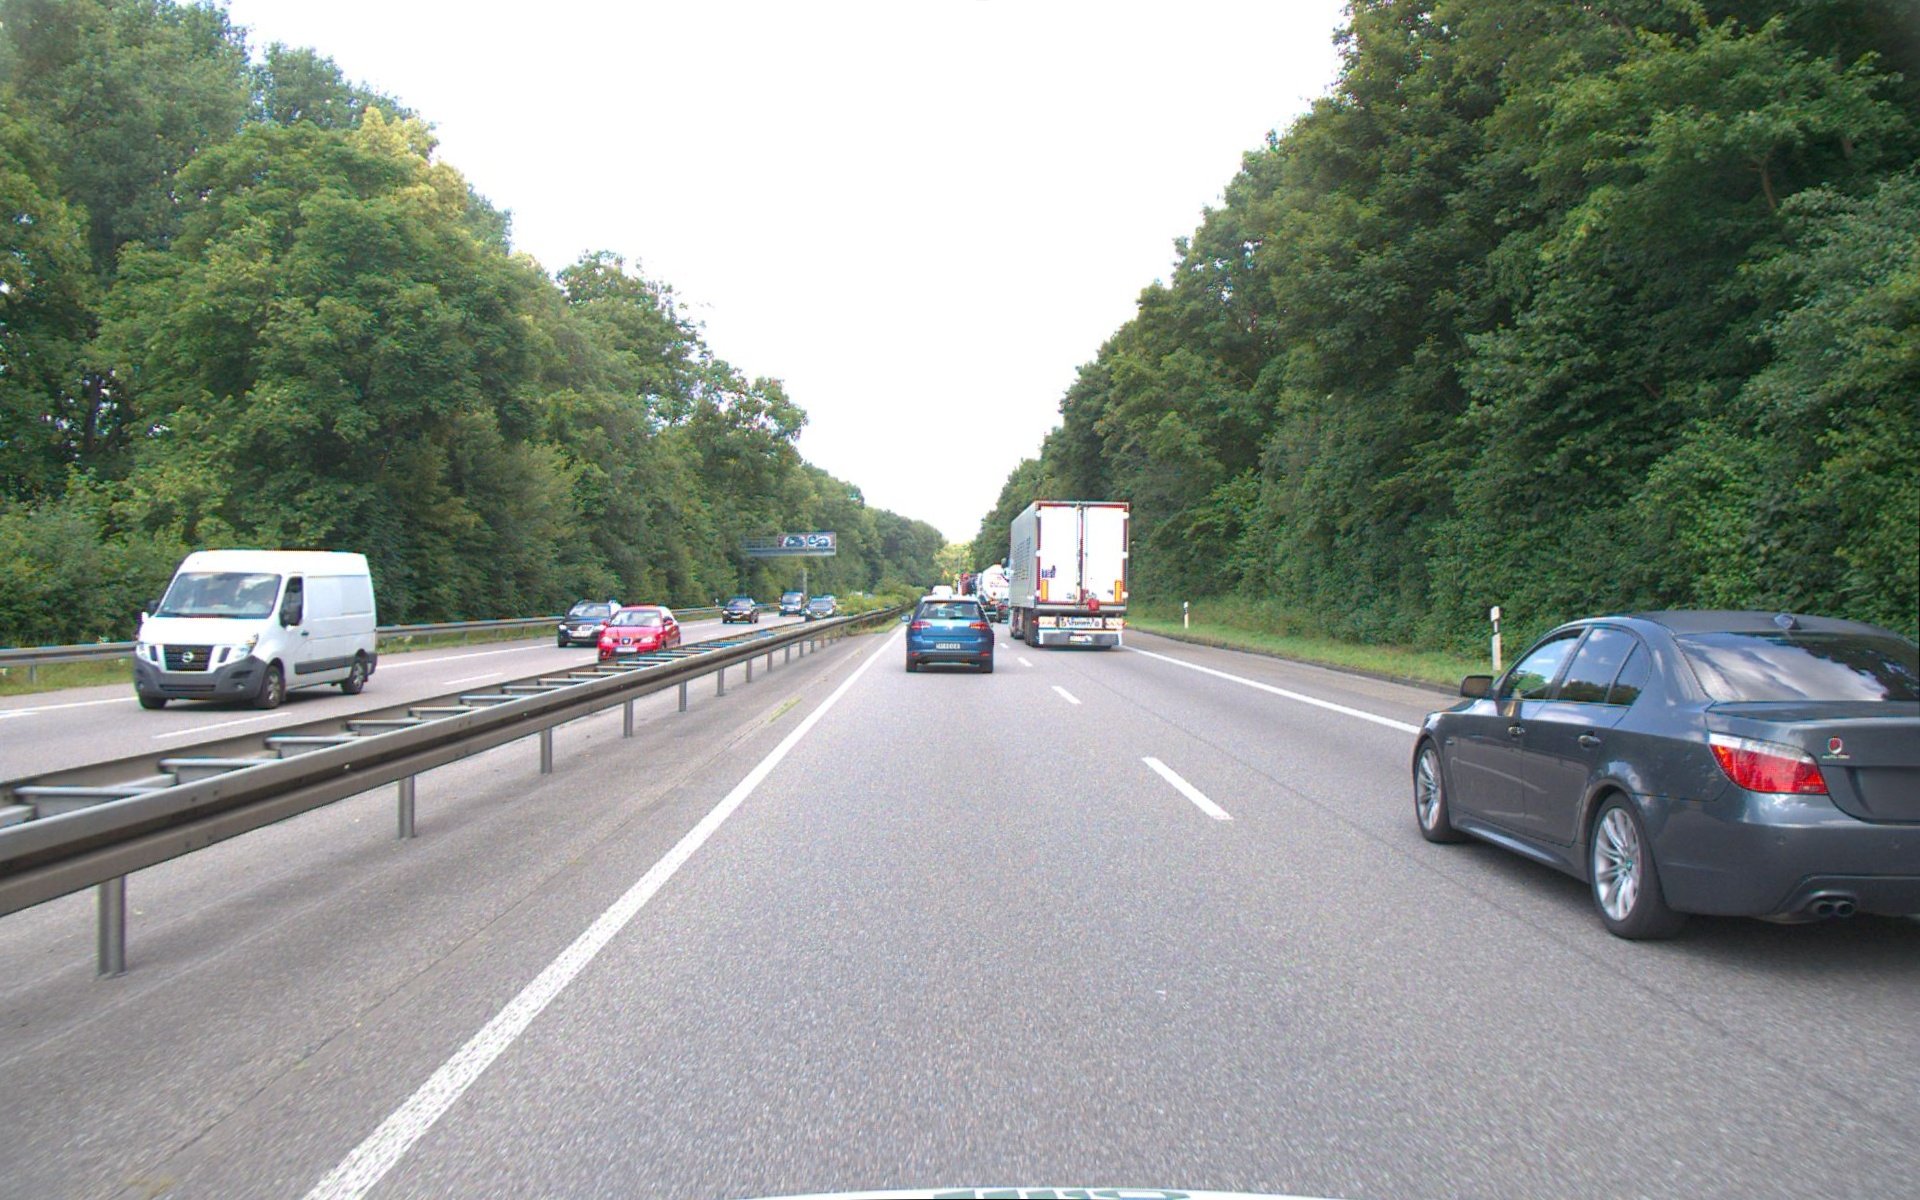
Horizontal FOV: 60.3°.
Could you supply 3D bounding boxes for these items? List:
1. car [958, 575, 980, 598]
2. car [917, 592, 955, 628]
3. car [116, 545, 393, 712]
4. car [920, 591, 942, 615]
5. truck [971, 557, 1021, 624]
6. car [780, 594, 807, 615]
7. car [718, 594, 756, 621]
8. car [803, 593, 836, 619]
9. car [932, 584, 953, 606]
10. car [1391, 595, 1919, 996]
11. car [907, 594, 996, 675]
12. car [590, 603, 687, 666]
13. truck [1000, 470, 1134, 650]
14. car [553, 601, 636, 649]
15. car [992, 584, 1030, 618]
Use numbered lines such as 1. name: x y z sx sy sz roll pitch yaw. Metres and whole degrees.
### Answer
1. car: 0.928 -1.376 174.707 1.954 2.368 4.439 -1 0 -3
2. car: -1.045 0.432 72.672 1.631 1.526 4.151 0 0 0
3. car: -11.451 0.412 27.425 2.068 2.465 5.830 1 0 0
4. car: -2.566 0.269 147.338 1.953 2.049 3.999 -1 0 -1
5. truck: 2.461 -0.588 117.724 3.166 4.463 12.968 0 0 0
6. car: -13.056 0.338 129.942 1.724 1.621 4.632 1 0 -1
7. car: -13.327 0.434 99.011 1.646 1.546 4.858 -1 0 -1
8. car: -8.656 0.368 102.355 1.745 1.546 4.265 -1 0 -1
9. car: -1.865 -0.508 171.193 1.954 2.294 4.439 -1 0 -3
10. car: 3.813 0.737 8.703 1.738 1.501 4.879 1 0 -1
11. car: -0.198 0.648 33.036 1.670 1.495 3.999 1 0 -1
12. car: -8.124 0.839 42.102 1.644 1.480 4.127 1 0 0
13. truck: 3.014 -1.117 49.975 3.176 4.798 11.005 -1 0 -1
14. car: -12.292 0.803 55.872 1.749 1.504 4.569 1 0 0
15. car: 2.717 0.044 89.198 1.850 1.759 4.000 -1 0 0
